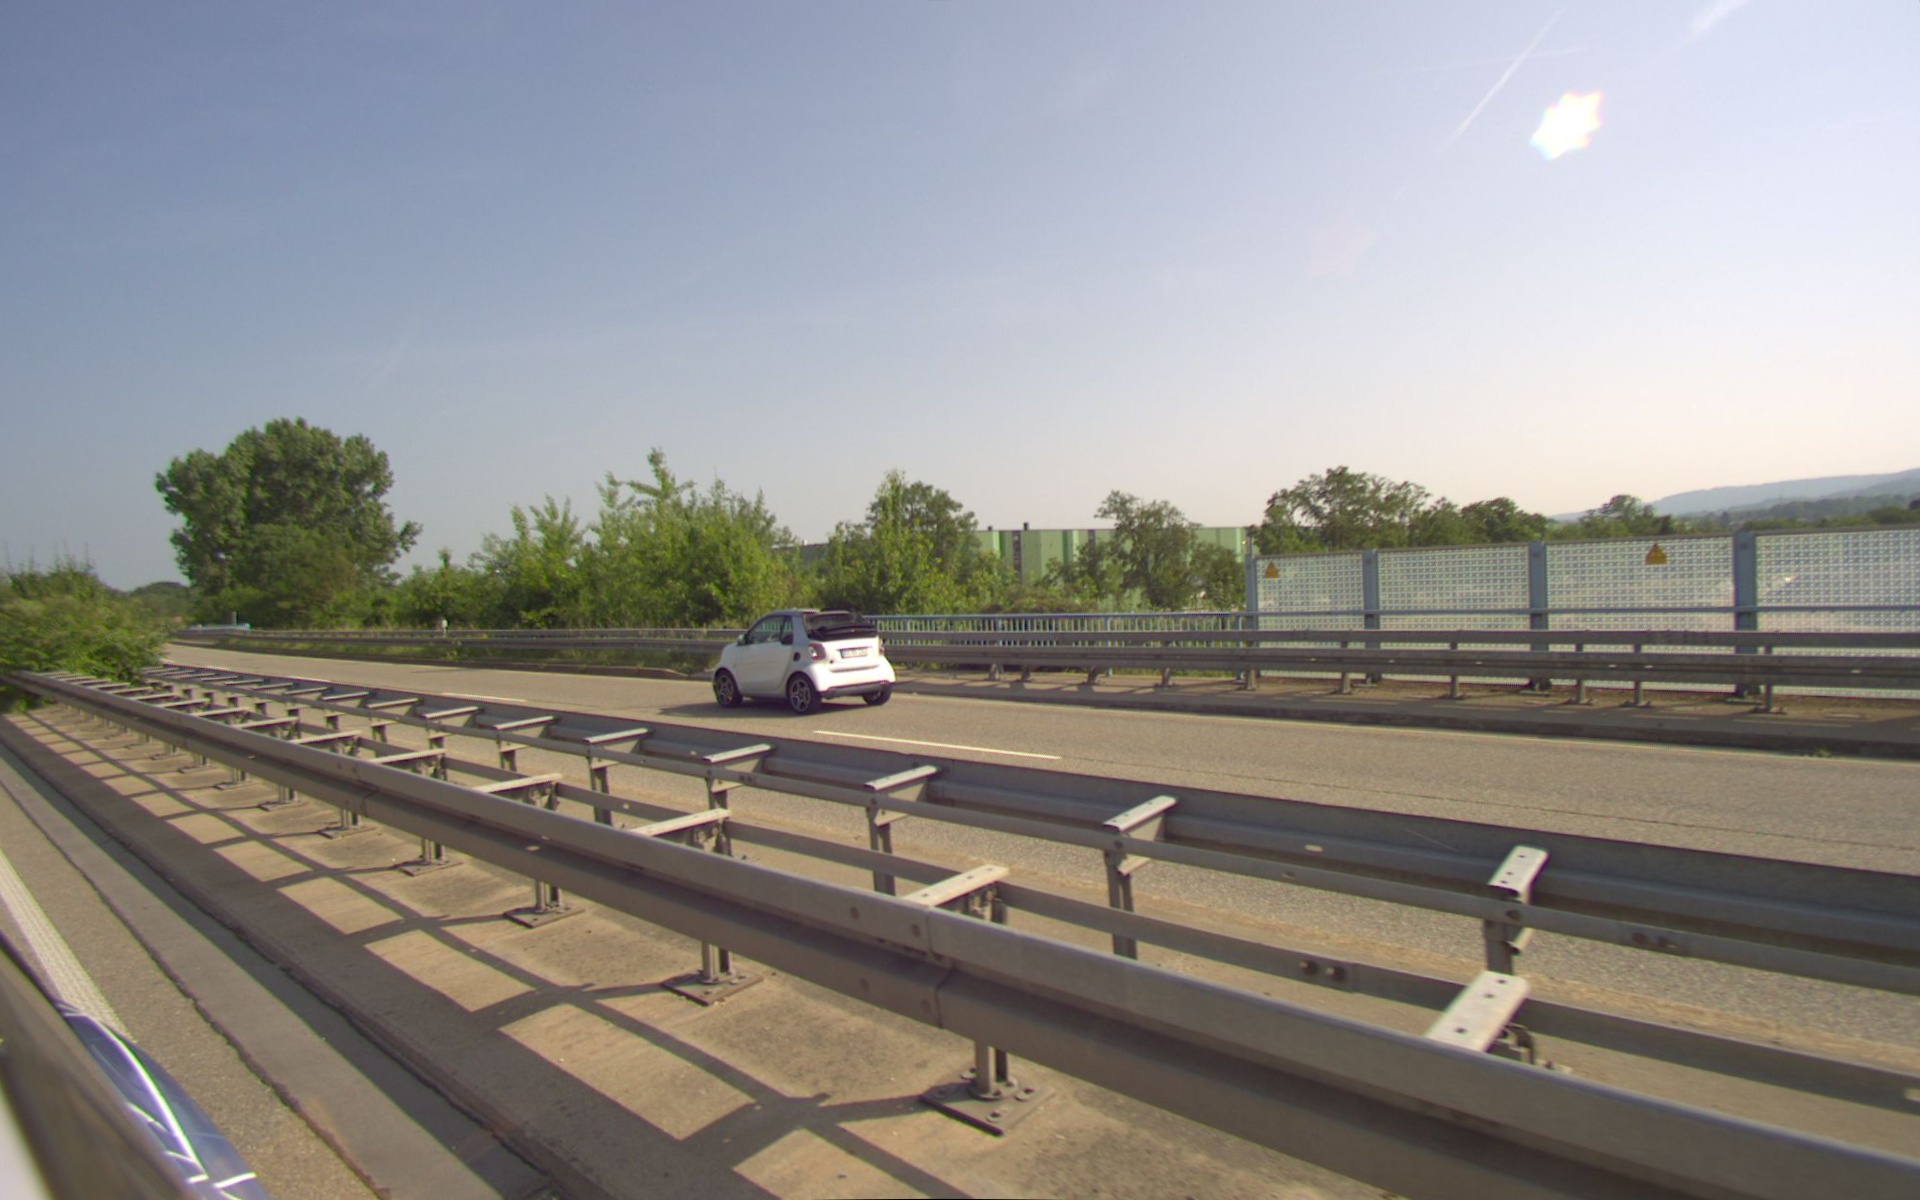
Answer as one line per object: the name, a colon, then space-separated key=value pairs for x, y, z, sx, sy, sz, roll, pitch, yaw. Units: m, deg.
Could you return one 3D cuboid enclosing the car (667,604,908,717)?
car: x=-2.804 y=0.877 z=15.909 sx=4.000 sy=1.514 sz=1.630 roll=-2 pitch=0 yaw=43
